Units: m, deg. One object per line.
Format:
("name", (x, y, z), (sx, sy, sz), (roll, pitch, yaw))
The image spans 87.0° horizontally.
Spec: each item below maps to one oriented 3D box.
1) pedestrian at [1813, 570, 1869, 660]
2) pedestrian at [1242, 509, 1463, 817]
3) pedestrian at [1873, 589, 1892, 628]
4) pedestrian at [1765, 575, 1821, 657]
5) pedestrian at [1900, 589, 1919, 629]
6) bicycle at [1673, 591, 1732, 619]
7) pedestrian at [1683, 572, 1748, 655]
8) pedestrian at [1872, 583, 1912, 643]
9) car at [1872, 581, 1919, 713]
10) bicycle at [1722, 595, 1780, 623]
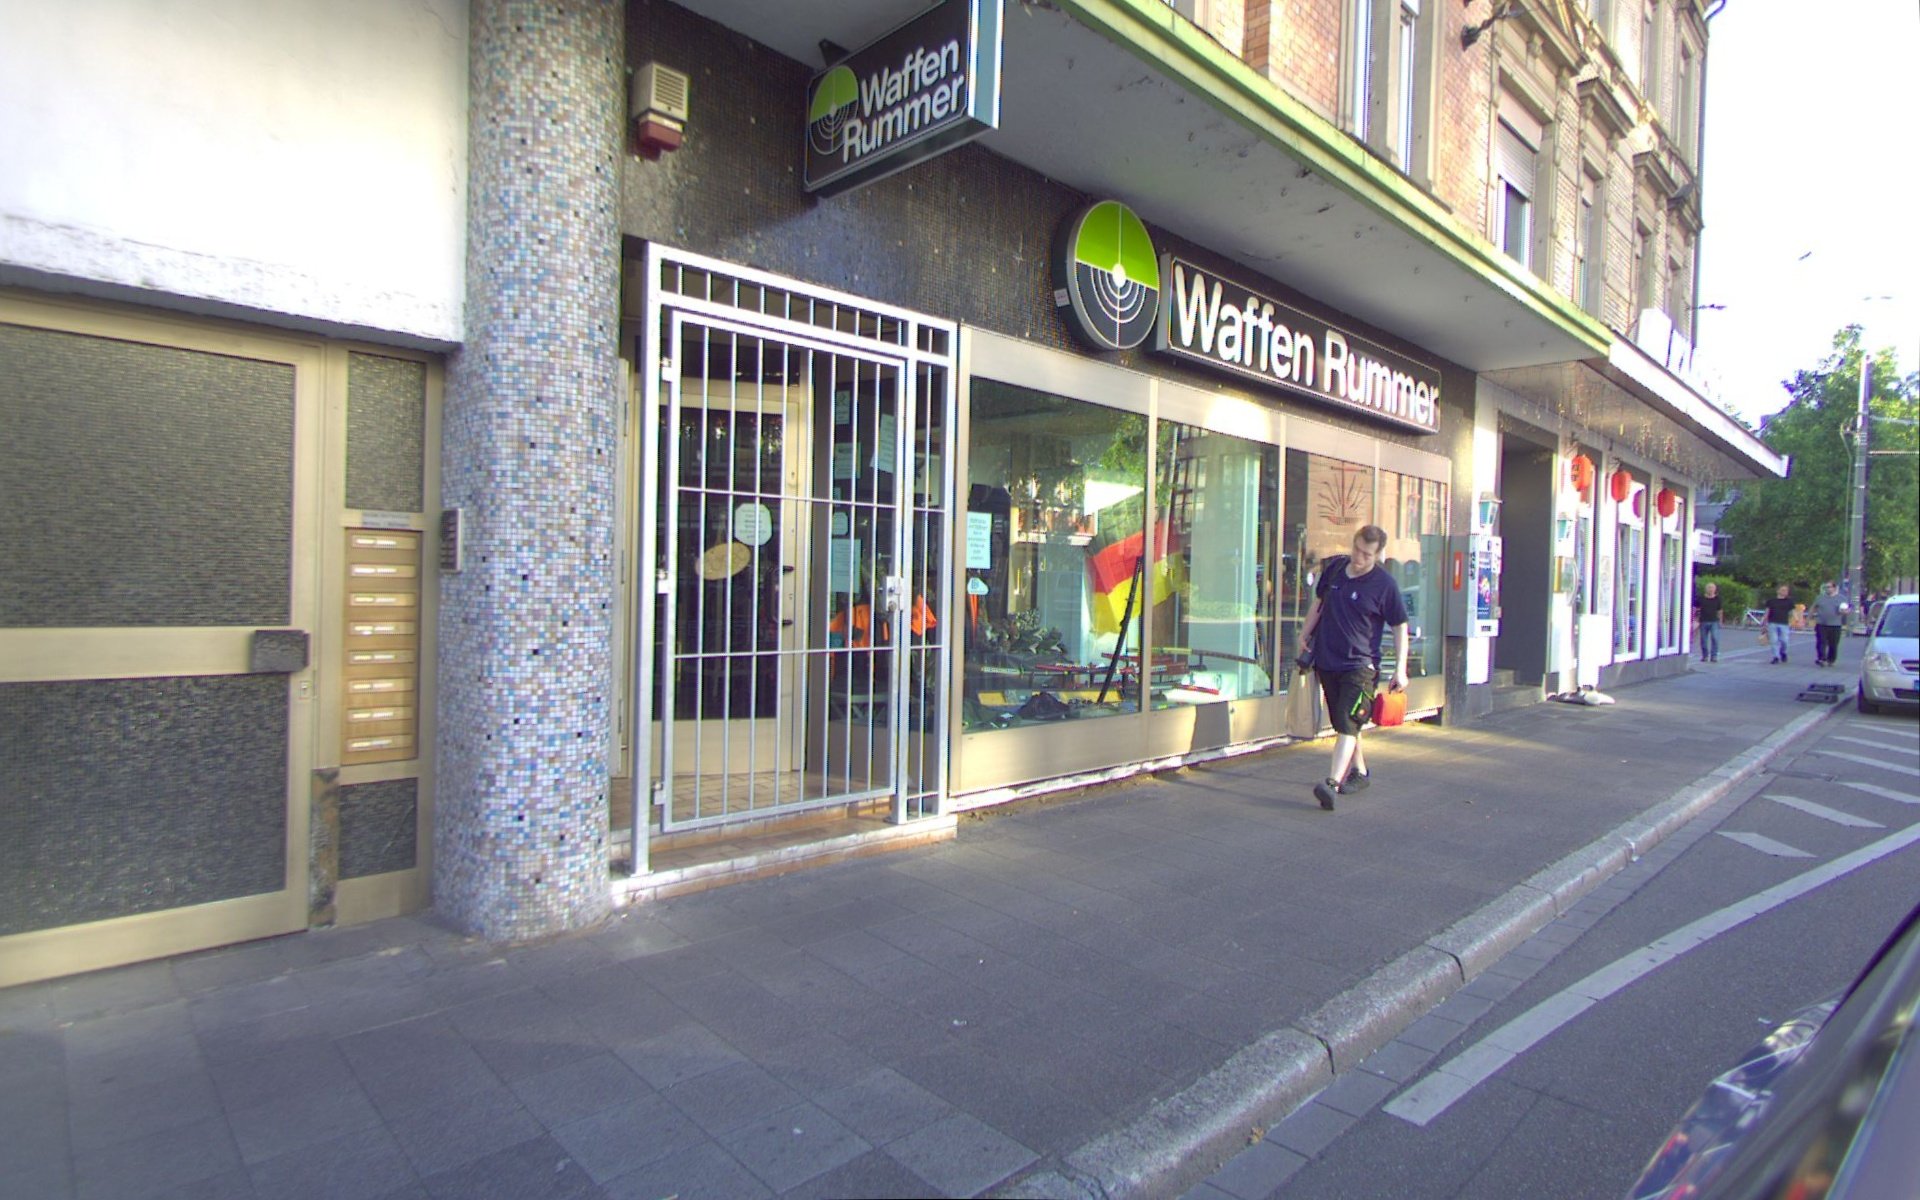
("pedestrian", (19.598, 0.313, 22.515), (1.016, 1.922, 0.794), (0, 2, -44))
("pedestrian", (2.581, 0.346, 6.658), (1.037, 1.814, 0.947), (0, 2, -44))
("pedestrian", (41.593, 0.372, 45.614), (0.430, 1.734, 0.493), (0, 3, -44))
("pedestrian", (18.771, 0.349, 22.812), (1.016, 1.778, 0.811), (0, 2, -44))
("pedestrian", (42.095, 0.383, 44.884), (0.430, 1.734, 0.493), (0, 3, -44))
("bicycle", (32.272, 0.204, 44.013), (2.012, 1.109, 0.628), (4, 2, 40))
("pedestrian", (16.641, 0.279, 22.290), (1.016, 1.734, 0.902), (0, 4, -44))
("pedestrian", (28.102, 0.368, 30.512), (0.930, 1.759, 0.788), (0, 1, -44))
("car", (13.557, 0.585, 13.683), (1.638, 1.635, 3.881), (1, 1, 45))
("bicycle", (33.972, 0.366, 43.478), (0.461, 1.109, 1.882), (0, 2, -45))
